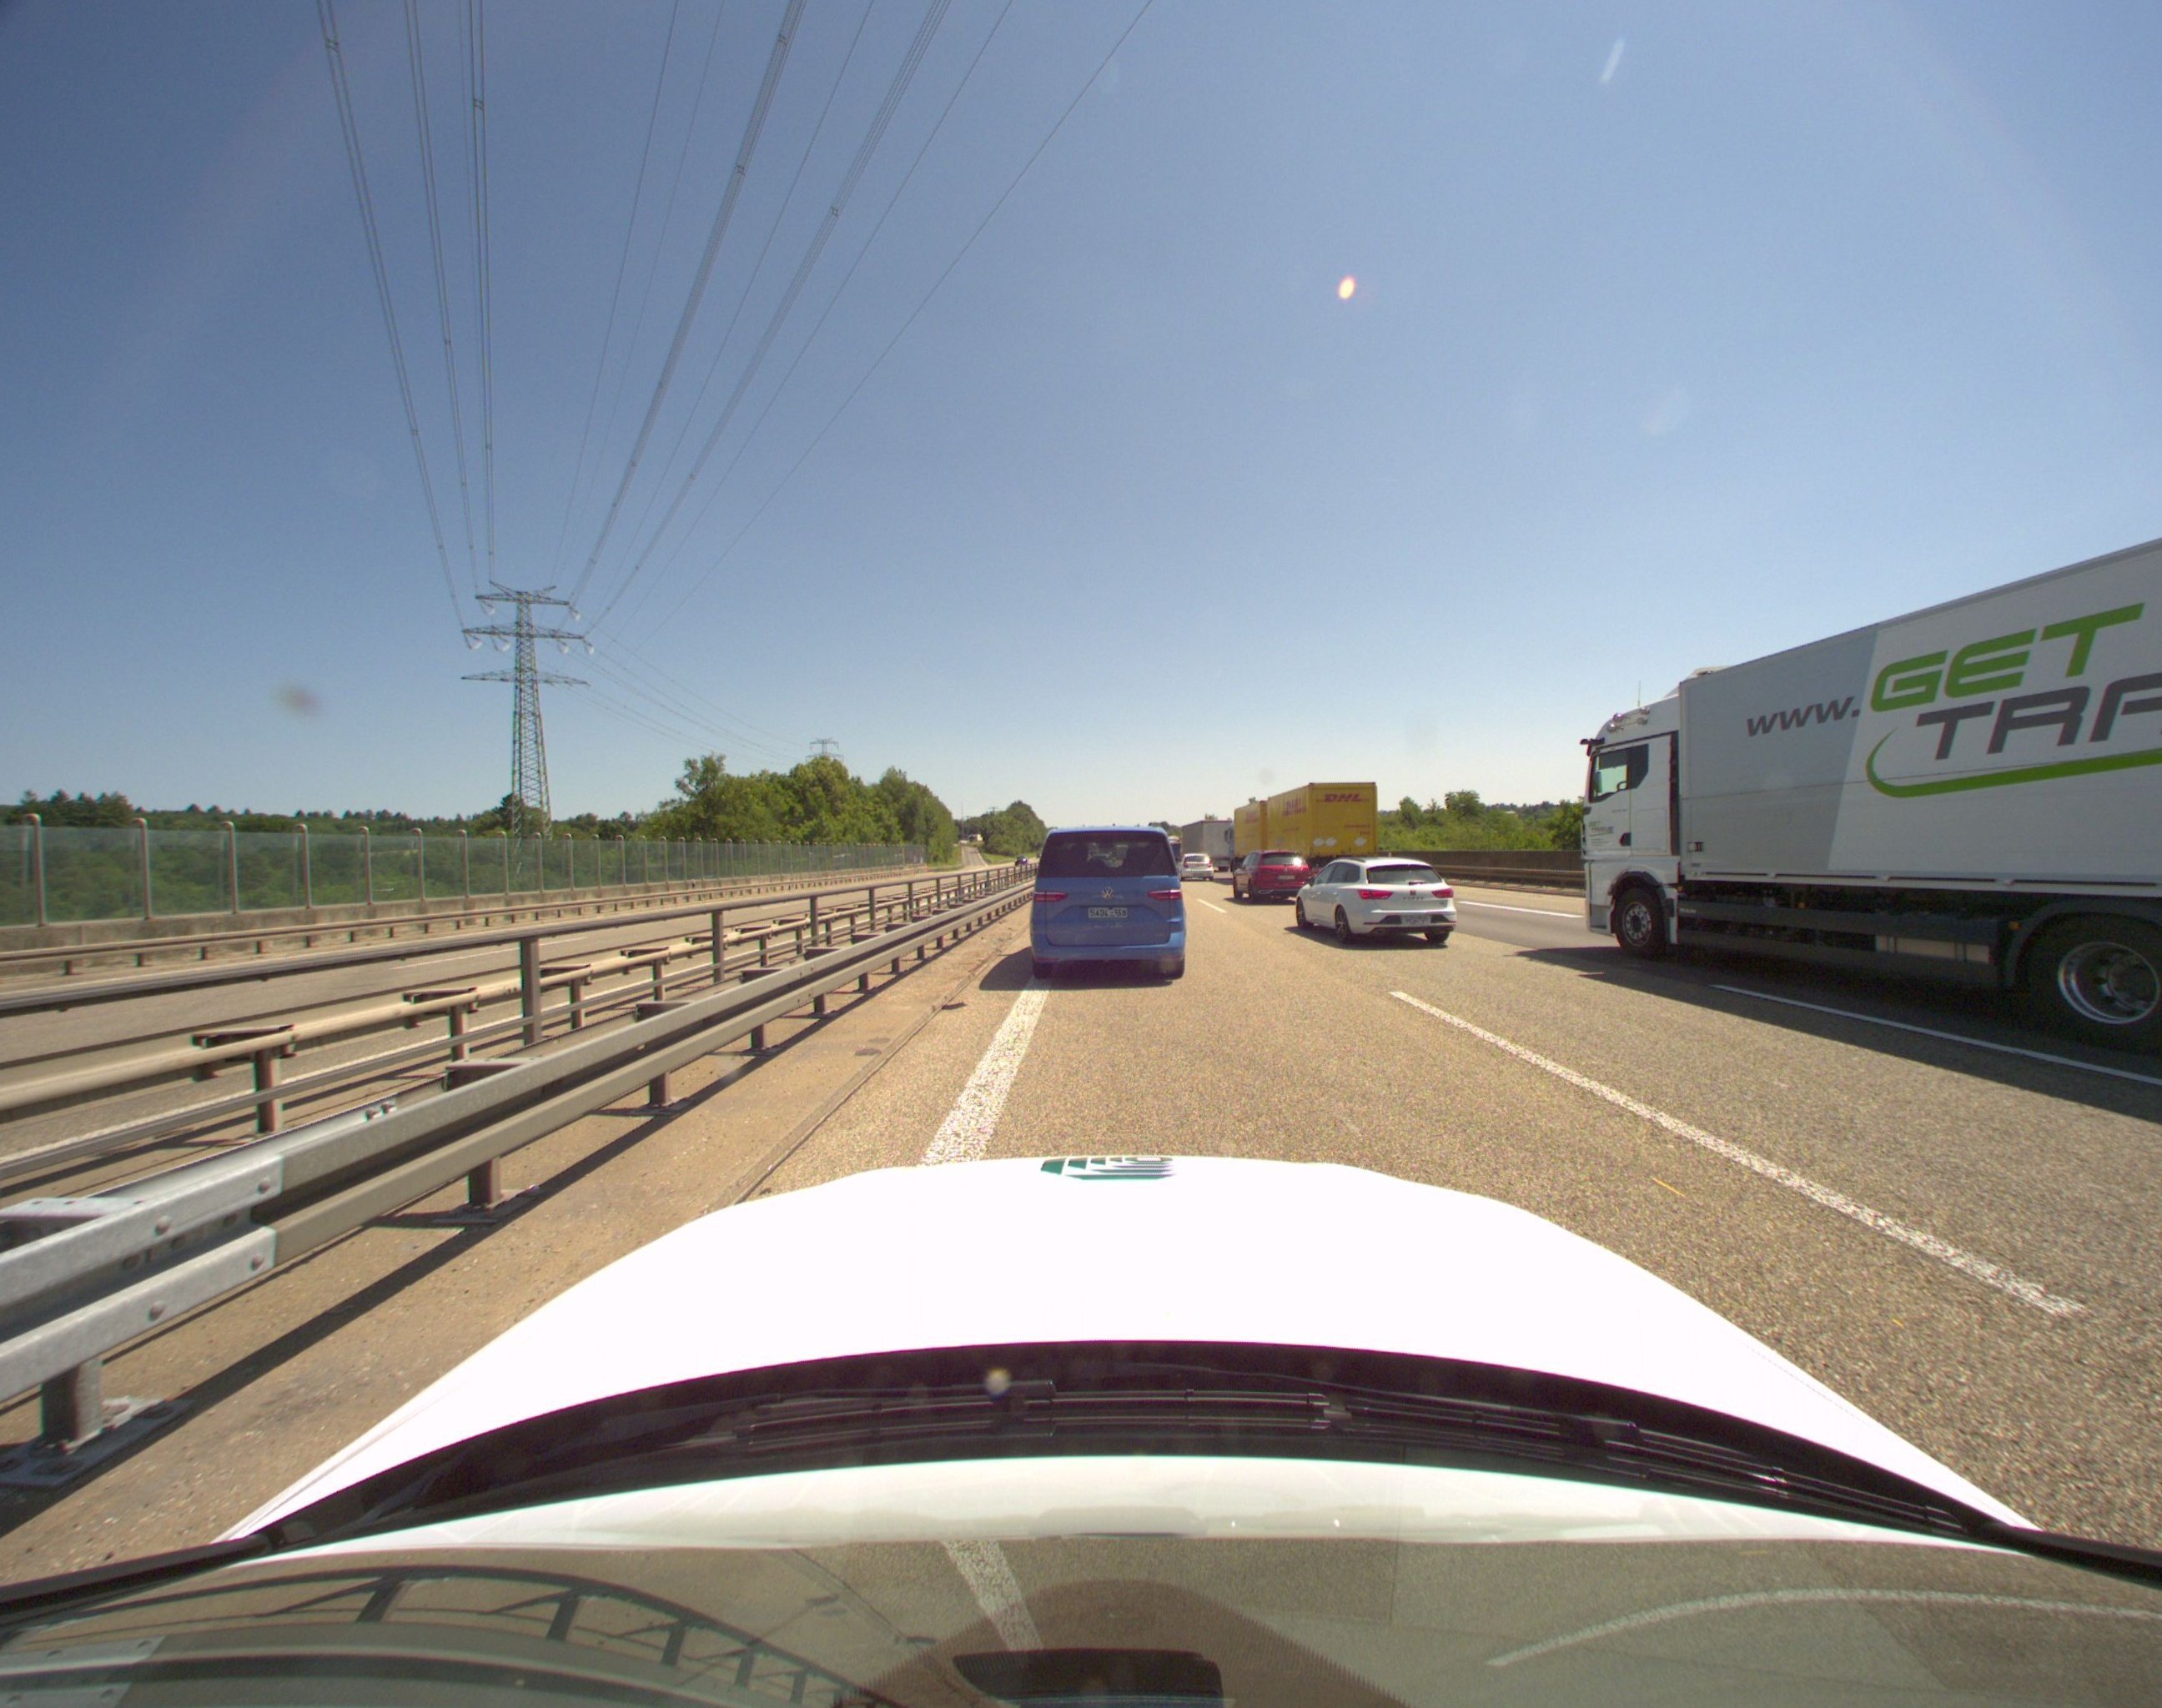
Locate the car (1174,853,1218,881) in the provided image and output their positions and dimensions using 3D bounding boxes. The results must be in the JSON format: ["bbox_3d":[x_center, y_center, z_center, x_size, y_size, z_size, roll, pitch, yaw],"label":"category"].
[{"bbox_3d":[6.310,0.689,45.072,1.832,1.414,4.000,-1,0,0],"label":"car"}]

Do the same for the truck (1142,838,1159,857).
[{"bbox_3d":[12.362,-1.160,145.396,2.348,3.218,9.739,0,-1,0],"label":"truck"}]

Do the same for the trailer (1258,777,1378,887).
[{"bbox_3d":[9.643,-0.746,34.265,2.691,4.023,8.933,0,-1,2],"label":"trailer"}]

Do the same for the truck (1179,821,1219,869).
[{"bbox_3d":[10.505,-0.747,72.872,2.758,4.095,6.986,0,-1,2],"label":"truck"}]

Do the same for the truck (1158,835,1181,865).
[{"bbox_3d":[11.291,-0.505,104.446,2.359,3.722,6.034,0,-1,1],"label":"truck"}]

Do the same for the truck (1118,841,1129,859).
[{"bbox_3d":[13.376,-1.197,259.070,2.824,5.373,12.553,0,-1,0],"label":"truck"}]

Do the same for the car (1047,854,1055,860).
[{"bbox_3d":[-8.044,0.804,219.171,1.748,1.547,4.001,-3,-1,2],"label":"car"}]

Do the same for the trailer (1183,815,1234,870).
[{"bbox_3d":[10.342,-0.810,67.067,2.745,4.146,11.315,0,-1,2],"label":"trailer"}]

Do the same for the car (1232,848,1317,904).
[{"bbox_3d":[5.996,0.644,25.713,1.844,1.608,4.002,-1,0,2],"label":"car"}]

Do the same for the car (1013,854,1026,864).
[{"bbox_3d":[-10.220,0.876,135.543,1.774,1.569,4.388,-3,0,1],"label":"car"}]

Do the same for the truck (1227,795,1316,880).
[{"bbox_3d":[9.971,-0.738,43.923,2.712,4.055,10.340,0,-1,2],"label":"truck"}]

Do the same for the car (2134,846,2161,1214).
[{"bbox_3d":[5.050,0.673,1.007,1.704,1.440,4.500,-1,0,0],"label":"car"}]

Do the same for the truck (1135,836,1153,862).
[{"bbox_3d":[12.610,-0.883,164.806,2.824,5.040,11.144,0,-1,0],"label":"truck"}]

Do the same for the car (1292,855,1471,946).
[{"bbox_3d":[5.165,0.724,14.637,1.774,1.387,4.189,-1,0,2],"label":"car"}]

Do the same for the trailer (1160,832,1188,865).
[{"bbox_3d":[11.132,-0.580,98.115,2.371,3.744,11.190,0,-1,1],"label":"trailer"}]

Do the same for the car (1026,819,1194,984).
[{"bbox_3d":[0.388,0.542,11.234,1.875,1.837,4.002,-1,0,2],"label":"car"}]

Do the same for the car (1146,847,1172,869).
[{"bbox_3d":[6.130,0.320,64.167,1.709,1.587,3.822,-2,0,1],"label":"car"}]

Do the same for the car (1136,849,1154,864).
[{"bbox_3d":[6.967,0.249,88.879,1.709,1.540,3.822,-2,0,2],"label":"car"}]

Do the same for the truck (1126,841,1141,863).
[{"bbox_3d":[12.512,-0.382,194.671,2.824,5.040,11.815,0,-1,0],"label":"truck"}]

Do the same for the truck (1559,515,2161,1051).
[{"bbox_3d":[8.736,-0.462,7.291,2.840,3.603,10.771,0,-1,1],"label":"truck"}]
